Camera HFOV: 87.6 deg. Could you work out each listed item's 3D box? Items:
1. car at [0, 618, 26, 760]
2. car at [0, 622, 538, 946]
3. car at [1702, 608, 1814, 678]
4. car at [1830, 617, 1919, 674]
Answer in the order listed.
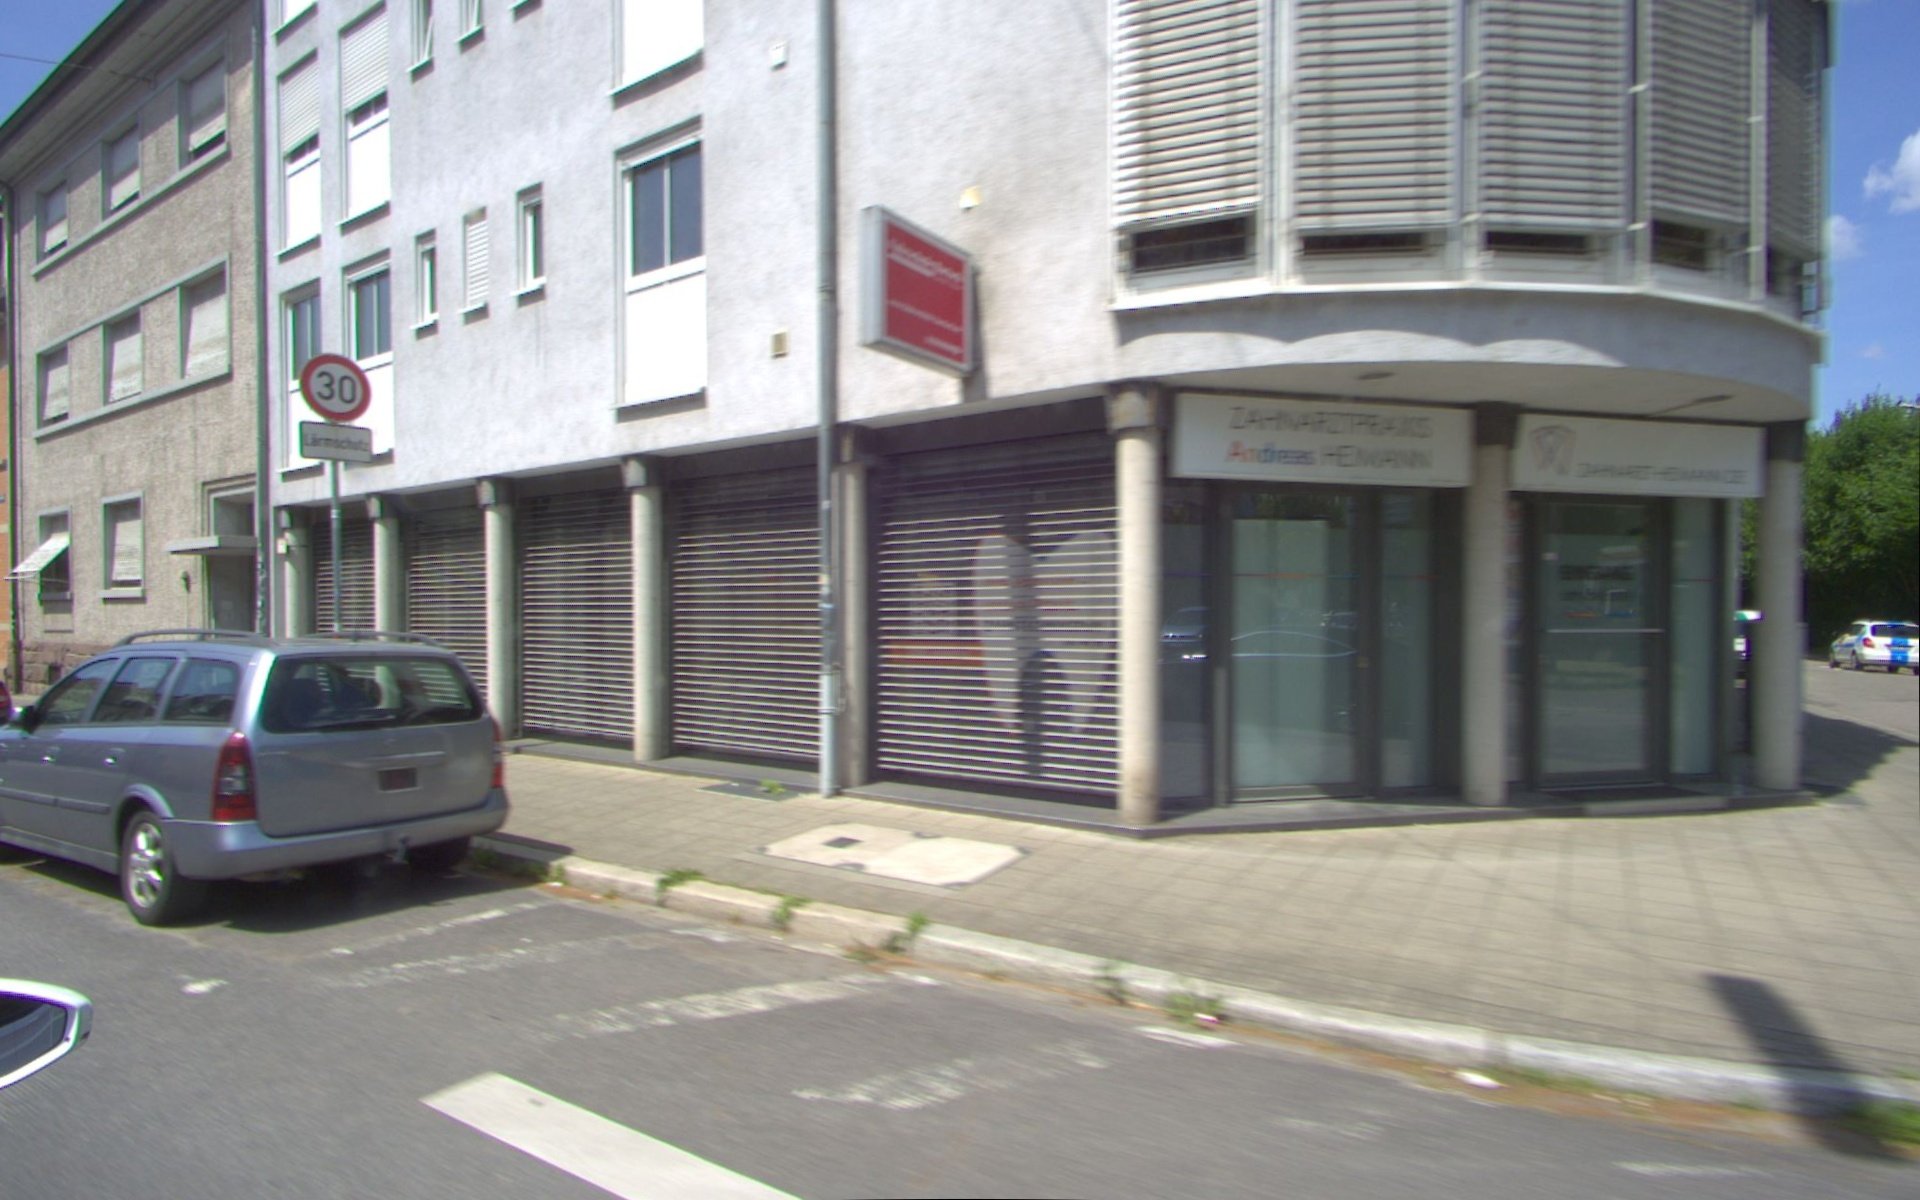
[{"bbox_3d":[-12.311,0.958,11.268,4.377,1.492,1.707,-1,-1,34],"label":"car"},{"bbox_3d":[-4.711,0.894,6.362,4.082,1.473,1.675,-1,-2,32],"label":"car"},{"bbox_3d":[22.111,1.190,27.914,1.603,1.756,4.368,-3,-3,28],"label":"car"},{"bbox_3d":[27.537,1.333,29.938,1.547,1.575,3.982,-1,-2,30],"label":"car"}]
